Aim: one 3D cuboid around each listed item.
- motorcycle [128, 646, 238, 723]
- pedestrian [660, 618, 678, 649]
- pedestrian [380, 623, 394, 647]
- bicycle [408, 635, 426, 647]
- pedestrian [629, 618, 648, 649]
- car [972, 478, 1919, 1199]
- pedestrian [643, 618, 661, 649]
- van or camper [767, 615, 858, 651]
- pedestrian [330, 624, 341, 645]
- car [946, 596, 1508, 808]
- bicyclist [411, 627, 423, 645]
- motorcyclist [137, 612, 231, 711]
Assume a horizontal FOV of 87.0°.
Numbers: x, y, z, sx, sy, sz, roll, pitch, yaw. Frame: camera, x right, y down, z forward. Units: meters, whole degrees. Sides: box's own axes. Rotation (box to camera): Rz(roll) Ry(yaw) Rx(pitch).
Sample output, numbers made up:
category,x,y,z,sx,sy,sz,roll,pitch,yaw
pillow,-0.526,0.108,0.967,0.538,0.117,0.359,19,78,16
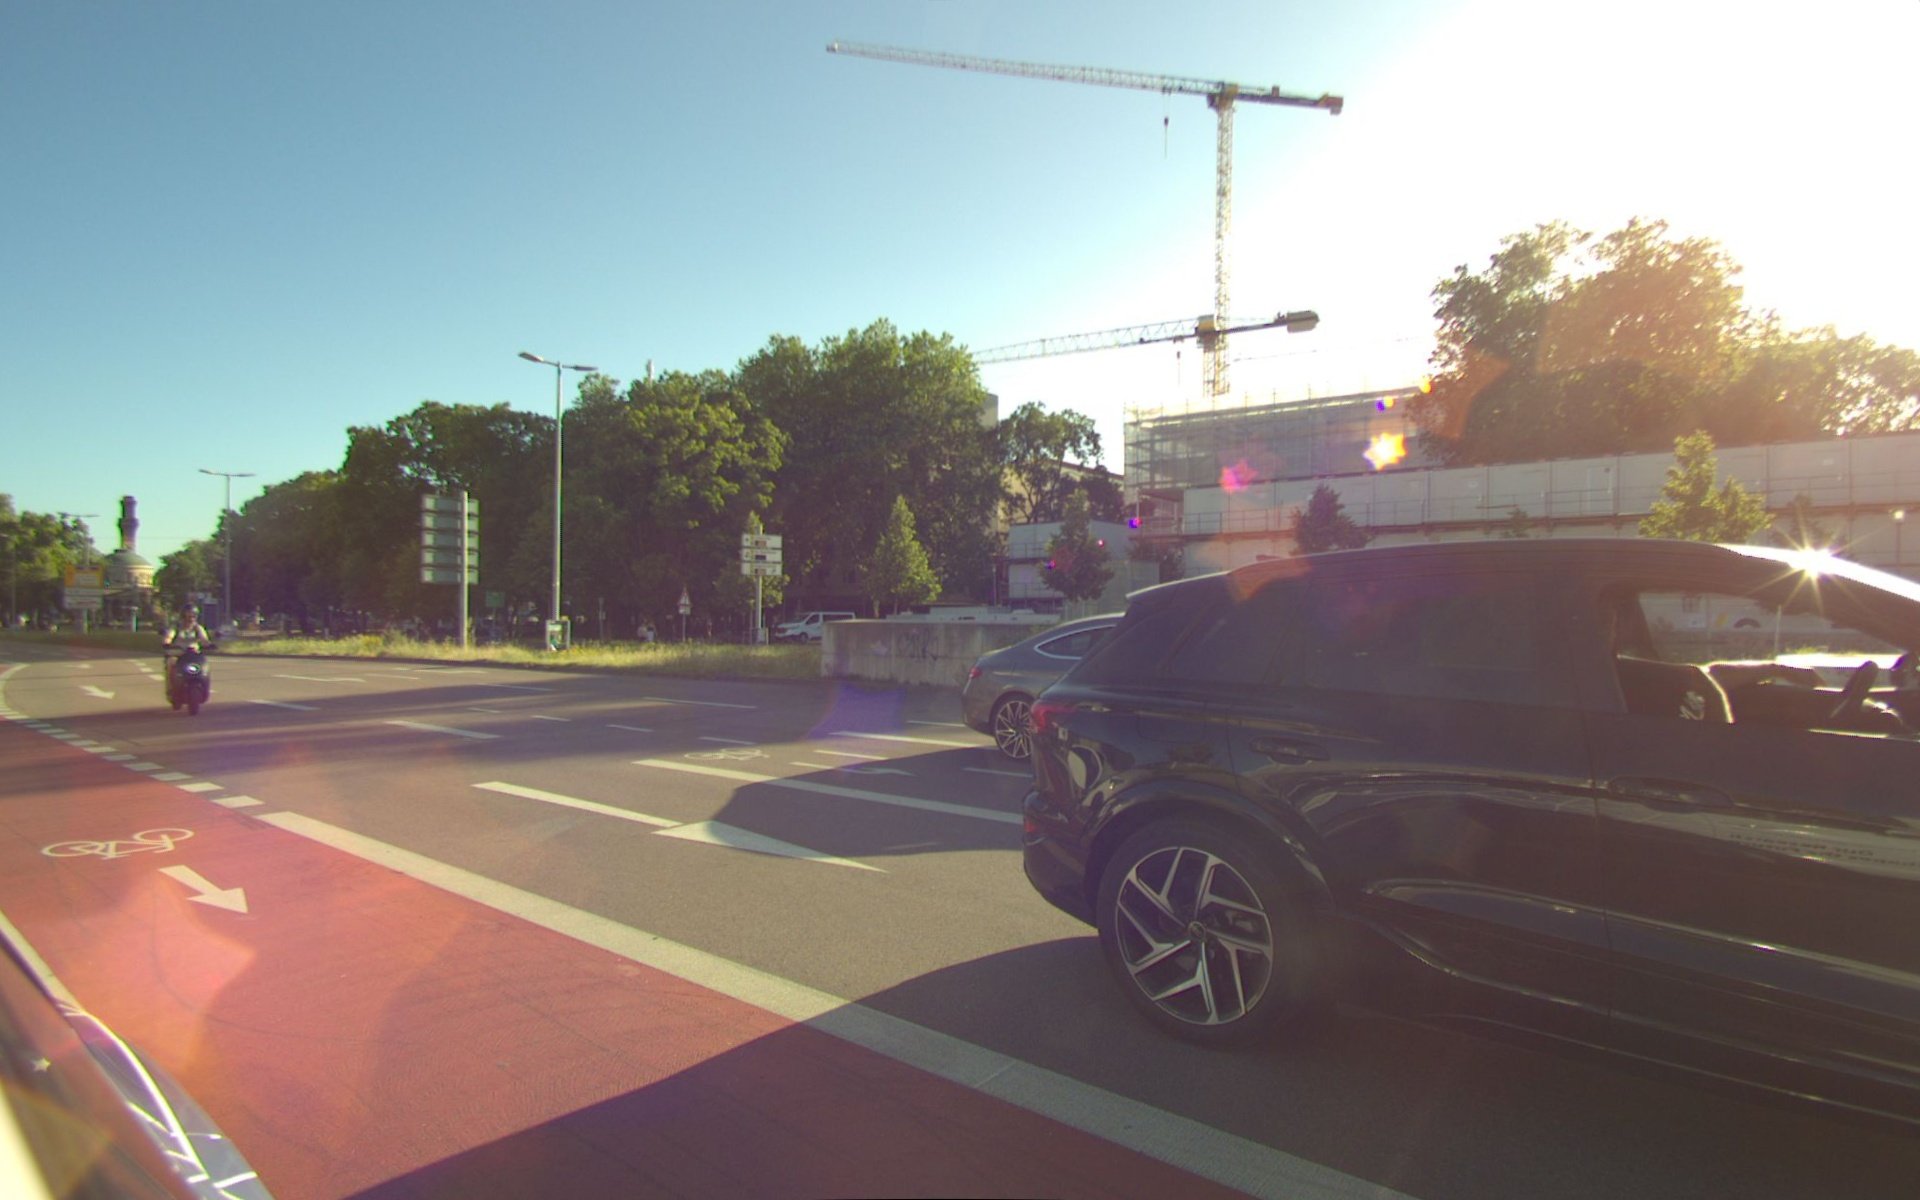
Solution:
category,x,y,z,sx,sy,sz,roll,pitch,yaw
motorcycle,-11.958,1.257,15.548,2.266,1.022,0.962,-1,-1,42
pedestrian,-16.649,1.913,57.805,0.762,1.738,0.697,-2,-2,44
pedestrian,-45.494,2.782,80.341,0.924,1.862,0.620,-1,-2,40
bicycle,-40.927,3.079,76.234,1.744,0.849,0.602,-1,-2,40
pedestrian,-17.836,1.851,56.142,0.762,1.738,0.698,-2,-2,41
car,2.436,0.579,3.098,4.611,1.656,1.914,-1,-1,39
pedestrian,-17.334,1.877,56.924,0.762,1.738,0.656,-2,-2,41
van or camper,-8.965,1.959,61.904,1.948,2.029,5.576,-1,0,42
pedestrian,-54.725,3.003,88.705,0.733,1.862,0.561,-1,-2,40
car,2.180,0.726,9.112,4.488,1.417,1.972,-1,0,43
bicyclist,-40.925,2.699,76.245,0.714,1.291,0.603,-1,-2,40
motorcyclist,-11.868,0.913,15.470,1.058,1.424,0.962,-1,-1,42
